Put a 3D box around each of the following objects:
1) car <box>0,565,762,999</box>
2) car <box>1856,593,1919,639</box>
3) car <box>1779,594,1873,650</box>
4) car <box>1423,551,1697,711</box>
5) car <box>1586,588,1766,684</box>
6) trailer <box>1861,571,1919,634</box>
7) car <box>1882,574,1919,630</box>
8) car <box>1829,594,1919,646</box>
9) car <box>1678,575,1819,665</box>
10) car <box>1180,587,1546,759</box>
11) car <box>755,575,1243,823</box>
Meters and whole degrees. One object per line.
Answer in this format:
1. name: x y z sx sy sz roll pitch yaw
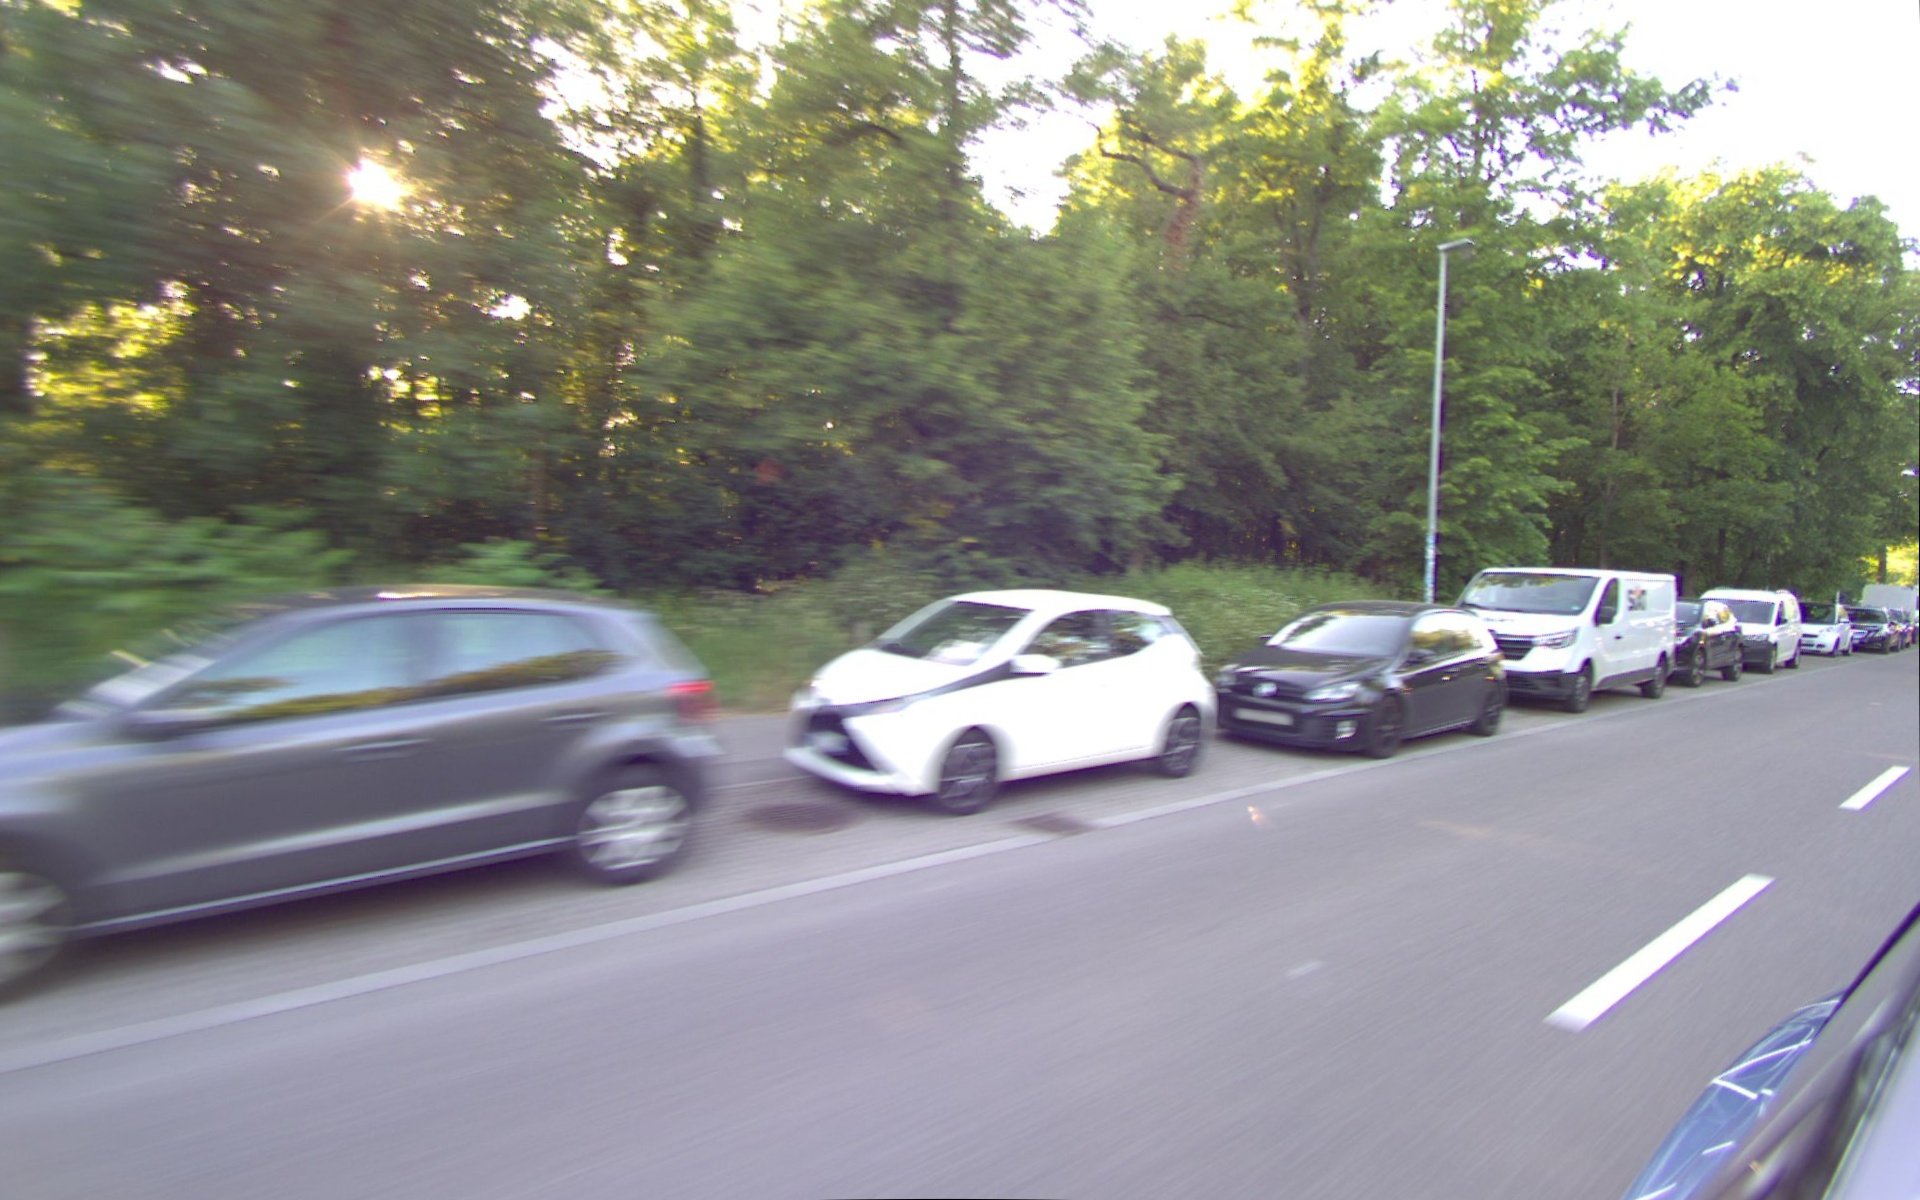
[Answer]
1. car: -3.054 0.607 4.777 3.873 1.471 1.589 0 3 -40
2. car: 35.062 0.564 37.974 4.279 1.554 1.680 -1 3 -42
3. car: 25.910 0.620 30.259 3.123 1.513 1.590 0 3 -40
4. car: 9.172 0.336 15.249 5.378 2.005 1.873 0 3 -41
5. car: 13.765 0.586 19.373 4.351 1.566 1.763 0 3 -41
6. trailer: 39.324 0.067 42.333 5.040 2.453 1.907 -1 3 -43
7. car: 44.275 0.079 46.800 5.482 2.453 1.907 -1 3 -43
8. car: 30.753 0.614 33.993 4.904 1.554 1.762 -1 3 -42
9. car: 18.359 0.380 23.485 4.657 1.826 1.762 -1 3 -42
10. car: 4.477 0.614 10.935 4.292 1.423 1.873 -1 3 -41
11. car: 0.440 0.581 7.997 3.730 1.471 1.590 0 3 -40
